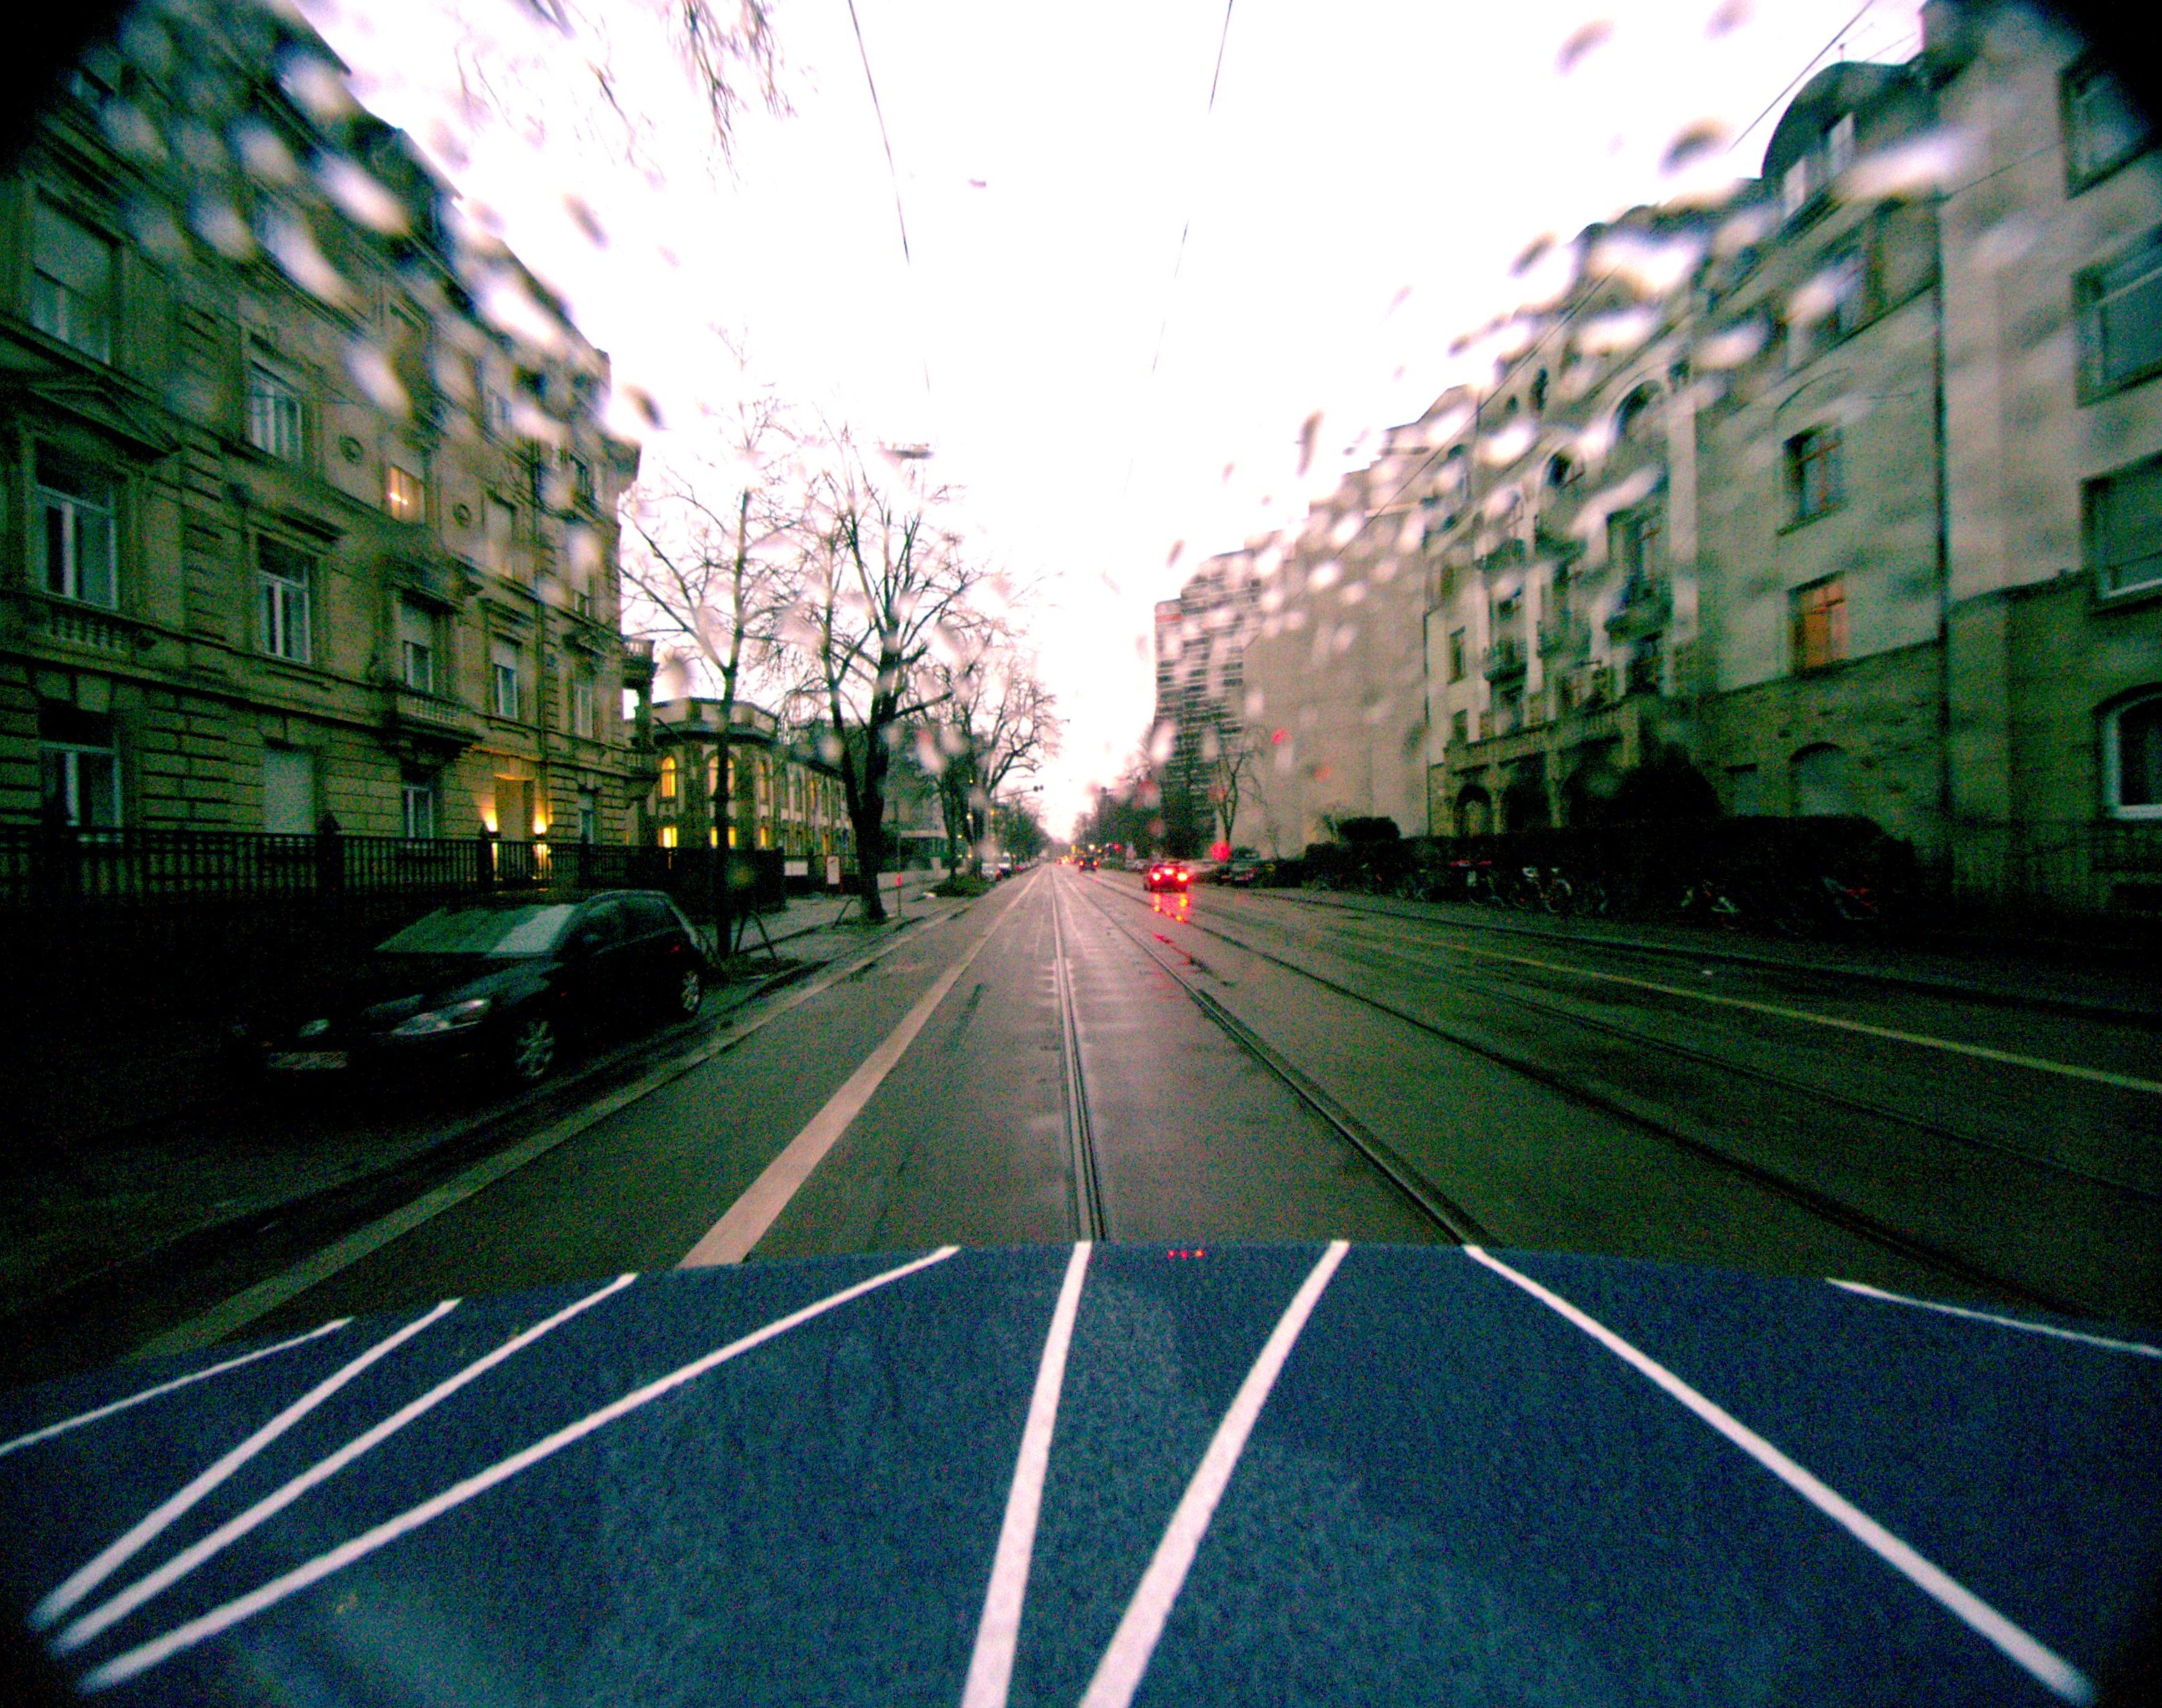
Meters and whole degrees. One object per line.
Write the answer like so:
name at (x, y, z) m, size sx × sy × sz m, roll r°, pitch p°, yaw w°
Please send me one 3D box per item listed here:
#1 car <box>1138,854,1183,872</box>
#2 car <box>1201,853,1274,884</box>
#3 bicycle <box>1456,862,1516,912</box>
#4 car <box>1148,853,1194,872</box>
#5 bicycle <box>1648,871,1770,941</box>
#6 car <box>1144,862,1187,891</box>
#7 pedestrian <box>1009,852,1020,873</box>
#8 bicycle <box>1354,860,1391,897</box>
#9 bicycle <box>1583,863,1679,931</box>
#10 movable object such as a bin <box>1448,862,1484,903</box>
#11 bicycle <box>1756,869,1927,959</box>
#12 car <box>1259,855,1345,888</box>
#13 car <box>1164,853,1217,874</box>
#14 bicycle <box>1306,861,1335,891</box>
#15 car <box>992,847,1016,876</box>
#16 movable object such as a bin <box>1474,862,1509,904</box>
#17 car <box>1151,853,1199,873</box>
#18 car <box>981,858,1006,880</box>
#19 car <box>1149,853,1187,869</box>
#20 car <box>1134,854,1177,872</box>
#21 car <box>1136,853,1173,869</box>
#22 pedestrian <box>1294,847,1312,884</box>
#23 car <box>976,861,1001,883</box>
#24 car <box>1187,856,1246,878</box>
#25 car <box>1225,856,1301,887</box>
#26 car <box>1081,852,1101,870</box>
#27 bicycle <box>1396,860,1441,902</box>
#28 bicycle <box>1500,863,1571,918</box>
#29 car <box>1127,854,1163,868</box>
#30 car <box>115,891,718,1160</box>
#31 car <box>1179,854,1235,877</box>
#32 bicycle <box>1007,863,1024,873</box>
car at (7.608, 0.861, 72.609) m, size 4.007 × 1.586 × 1.864 m, roll -2°, pitch 0°, yaw -39°
car at (8.926, 0.818, 43.231) m, size 4.007 × 1.586 × 1.864 m, roll -2°, pitch 0°, yaw -39°
bicycle at (10.312, 0.810, 19.391) m, size 0.625 × 1.205 × 1.662 m, roll -1°, pitch 0°, yaw 0°
car at (8.310, 0.748, 69.708) m, size 4.007 × 1.586 × 1.864 m, roll -2°, pitch 0°, yaw -39°
bicycle at (10.561, 0.836, 12.854) m, size 0.625 × 1.059 × 1.727 m, roll -1°, pitch 0°, yaw 0°
car at (3.984, 1.049, 36.163) m, size 1.710 × 1.245 × 3.666 m, roll -1°, pitch 0°, yaw 1°
pedestrian at (-7.380, 0.954, 84.459) m, size 1.118 × 2.246 × 0.952 m, roll -2°, pitch 1°, yaw -5°
bicycle at (9.957, 0.808, 25.980) m, size 0.625 × 1.205 × 1.662 m, roll -1°, pitch 0°, yaw 0°
bicycle at (10.500, 0.780, 14.586) m, size 0.625 × 1.205 × 1.662 m, roll -1°, pitch 0°, yaw 0°
movable object such as a bin at (11.007, 0.805, 21.725) m, size 0.659 × 1.157 × 0.675 m, roll -1°, pitch 0°, yaw 1°
bicycle at (10.669, 0.798, 10.754) m, size 0.625 × 1.119 × 1.783 m, roll -1°, pitch 0°, yaw 0°
car at (11.028, 0.833, 37.885) m, size 4.006 × 1.485 × 1.865 m, roll -2°, pitch 0°, yaw -30°
car at (8.730, 0.741, 60.389) m, size 4.007 × 1.586 × 1.864 m, roll -2°, pitch 0°, yaw -39°
bicycle at (9.693, 0.862, 30.855) m, size 0.625 × 1.157 × 1.662 m, roll -2°, pitch 0°, yaw 0°
car at (-7.519, 0.687, 74.456) m, size 2.093 × 2.622 × 5.446 m, roll -2°, pitch 1°, yaw -5°
movable object such as a bin at (11.711, 0.811, 21.711) m, size 0.625 × 1.157 × 0.675 m, roll -1°, pitch 0°, yaw 1°
car at (8.284, 0.769, 66.759) m, size 4.007 × 1.586 × 1.864 m, roll -2°, pitch 0°, yaw -39°
car at (-7.437, 1.225, 64.758) m, size 1.999 × 1.672 × 3.998 m, roll -2°, pitch 1°, yaw -5°
car at (9.661, 0.747, 84.362) m, size 4.007 × 1.586 × 1.864 m, roll -2°, pitch 0°, yaw -39°
car at (7.355, 0.876, 75.162) m, size 4.007 × 1.586 × 1.864 m, roll -2°, pitch 0°, yaw -39°
car at (8.366, 0.789, 86.386) m, size 4.007 × 1.586 × 1.864 m, roll -2°, pitch 0°, yaw -39°
pedestrian at (10.414, 0.525, 35.666) m, size 0.574 × 1.715 × 0.644 m, roll -3°, pitch 2°, yaw 2°
car at (-6.628, 1.261, 54.666) m, size 1.628 × 1.399 × 3.998 m, roll -2°, pitch 1°, yaw -5°
car at (9.572, 0.910, 53.624) m, size 4.007 × 1.440 × 1.864 m, roll -2°, pitch 0°, yaw -39°
car at (9.653, 0.883, 40.128) m, size 4.007 × 1.477 × 1.760 m, roll -2°, pitch 0°, yaw -39°
car at (1.198, 0.804, 91.890) m, size 2.239 × 2.002 × 4.460 m, roll -2°, pitch 1°, yaw -1°
bicycle at (10.261, 0.806, 23.142) m, size 0.625 × 1.205 × 1.662 m, roll -1°, pitch 0°, yaw 0°
bicycle at (10.329, 0.802, 17.339) m, size 0.625 × 1.157 × 1.662 m, roll -1°, pitch 0°, yaw 0°
car at (7.469, 0.809, 88.613) m, size 4.007 × 1.586 × 1.864 m, roll -2°, pitch 0°, yaw -39°
car at (-4.963, 1.133, 6.640) m, size 1.762 × 1.437 × 4.156 m, roll 1°, pitch -1°, yaw -3°
car at (9.520, 0.842, 57.283) m, size 4.007 × 1.586 × 1.864 m, roll -2°, pitch 0°, yaw -39°
bicycle at (-7.284, 1.538, 84.478) m, size 1.918 × 0.986 × 0.858 m, roll -2°, pitch 1°, yaw -4°
